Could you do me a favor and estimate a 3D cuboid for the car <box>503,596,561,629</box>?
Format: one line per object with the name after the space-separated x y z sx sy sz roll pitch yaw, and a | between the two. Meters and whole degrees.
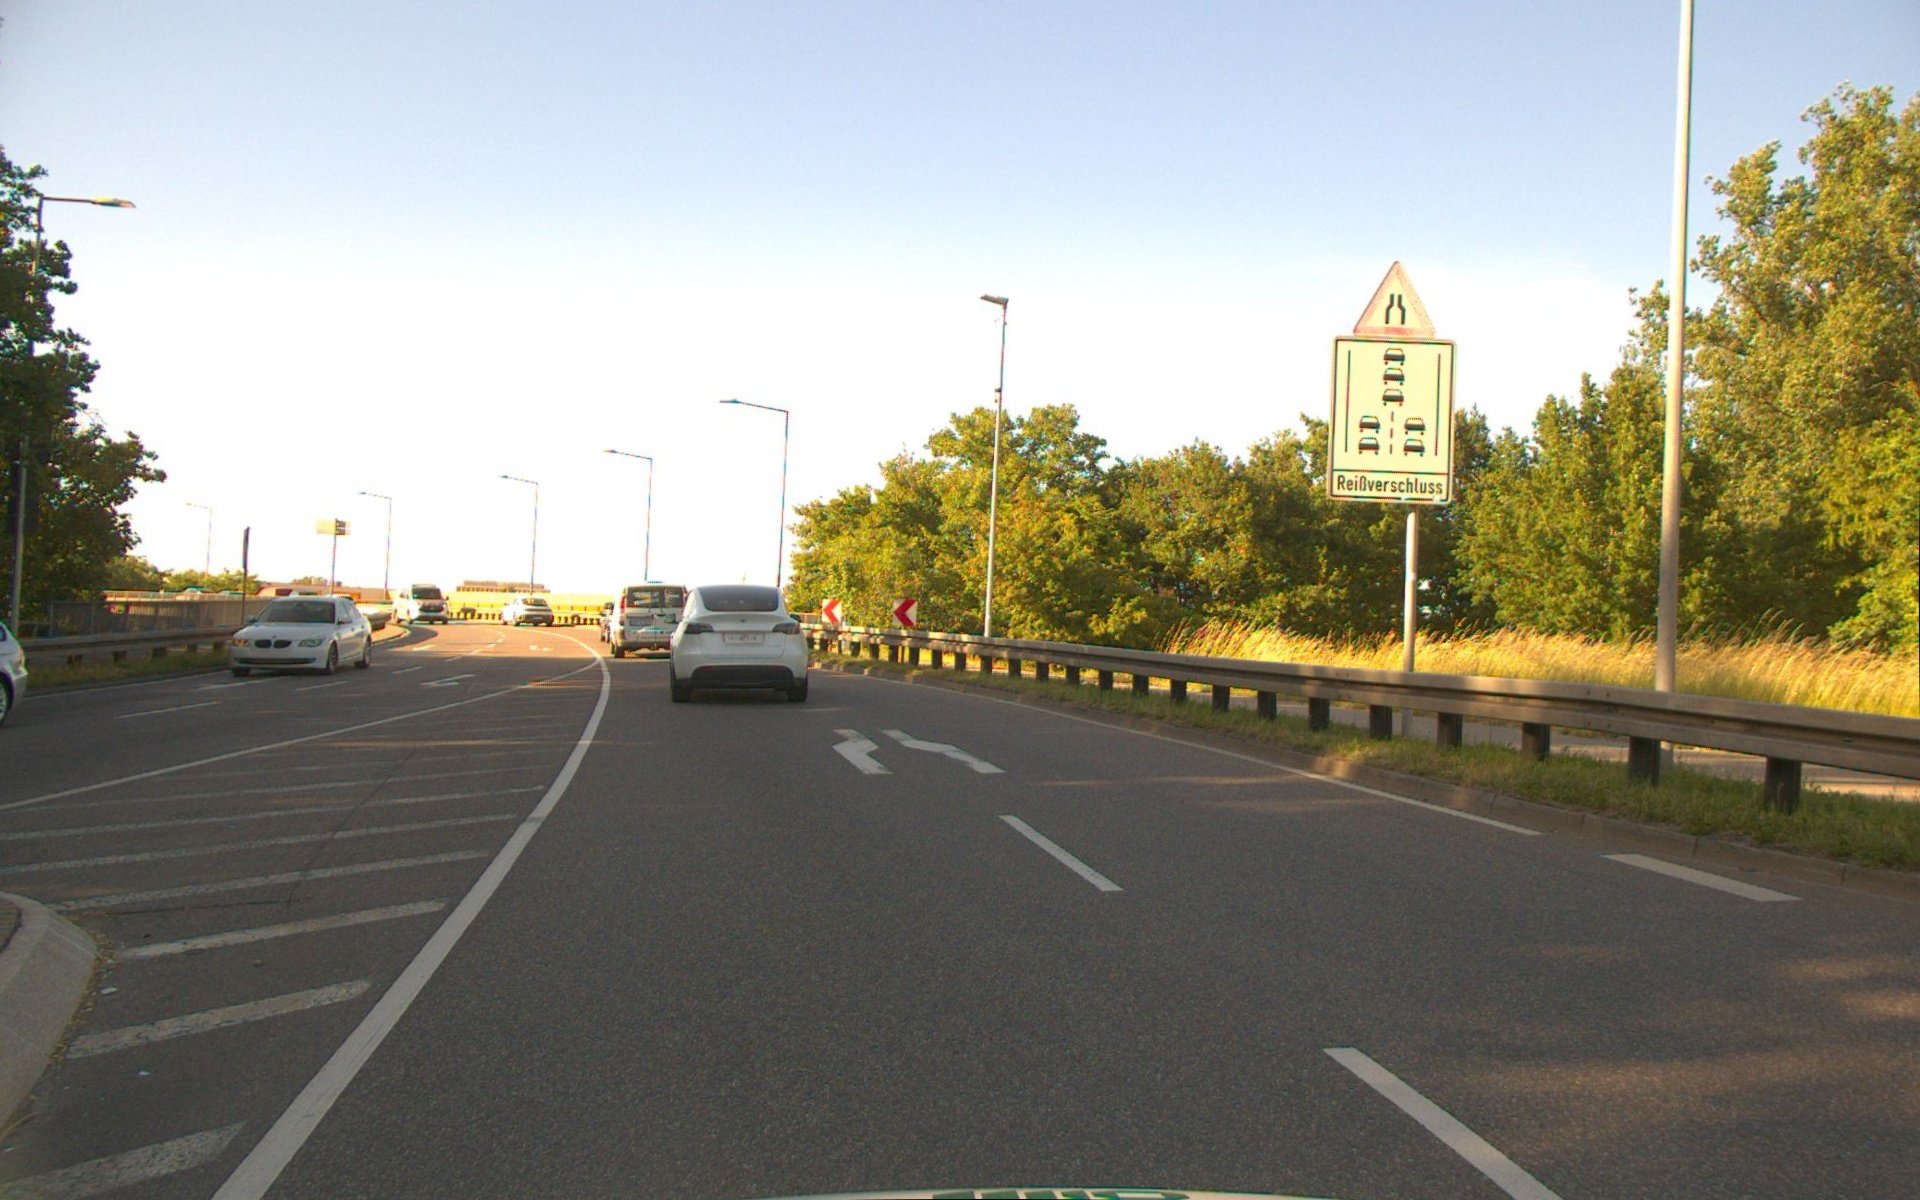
-21.608 0.620 83.370 1.971 1.566 3.963 1 0 -28 | car

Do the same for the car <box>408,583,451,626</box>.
-27.768 0.206 86.459 1.920 2.149 5.239 1 0 -20 | car

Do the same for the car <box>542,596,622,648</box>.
-12.731 0.714 55.549 1.942 1.666 3.971 0 0 -23 | car

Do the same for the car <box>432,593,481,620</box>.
-31.630 0.397 103.804 1.821 1.583 3.844 1 0 -36 | car

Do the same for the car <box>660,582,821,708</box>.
-3.291 0.597 24.171 1.951 1.666 4.049 0 0 -13 | car

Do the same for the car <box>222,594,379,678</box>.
-12.859 0.668 32.550 1.813 1.513 4.620 1 0 -8 | car

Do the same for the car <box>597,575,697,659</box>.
-7.947 0.414 41.705 1.974 1.974 4.445 1 0 -17 | car

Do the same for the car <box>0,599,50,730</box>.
-11.167 0.694 16.602 1.666 1.414 4.525 0 0 -2 | car
